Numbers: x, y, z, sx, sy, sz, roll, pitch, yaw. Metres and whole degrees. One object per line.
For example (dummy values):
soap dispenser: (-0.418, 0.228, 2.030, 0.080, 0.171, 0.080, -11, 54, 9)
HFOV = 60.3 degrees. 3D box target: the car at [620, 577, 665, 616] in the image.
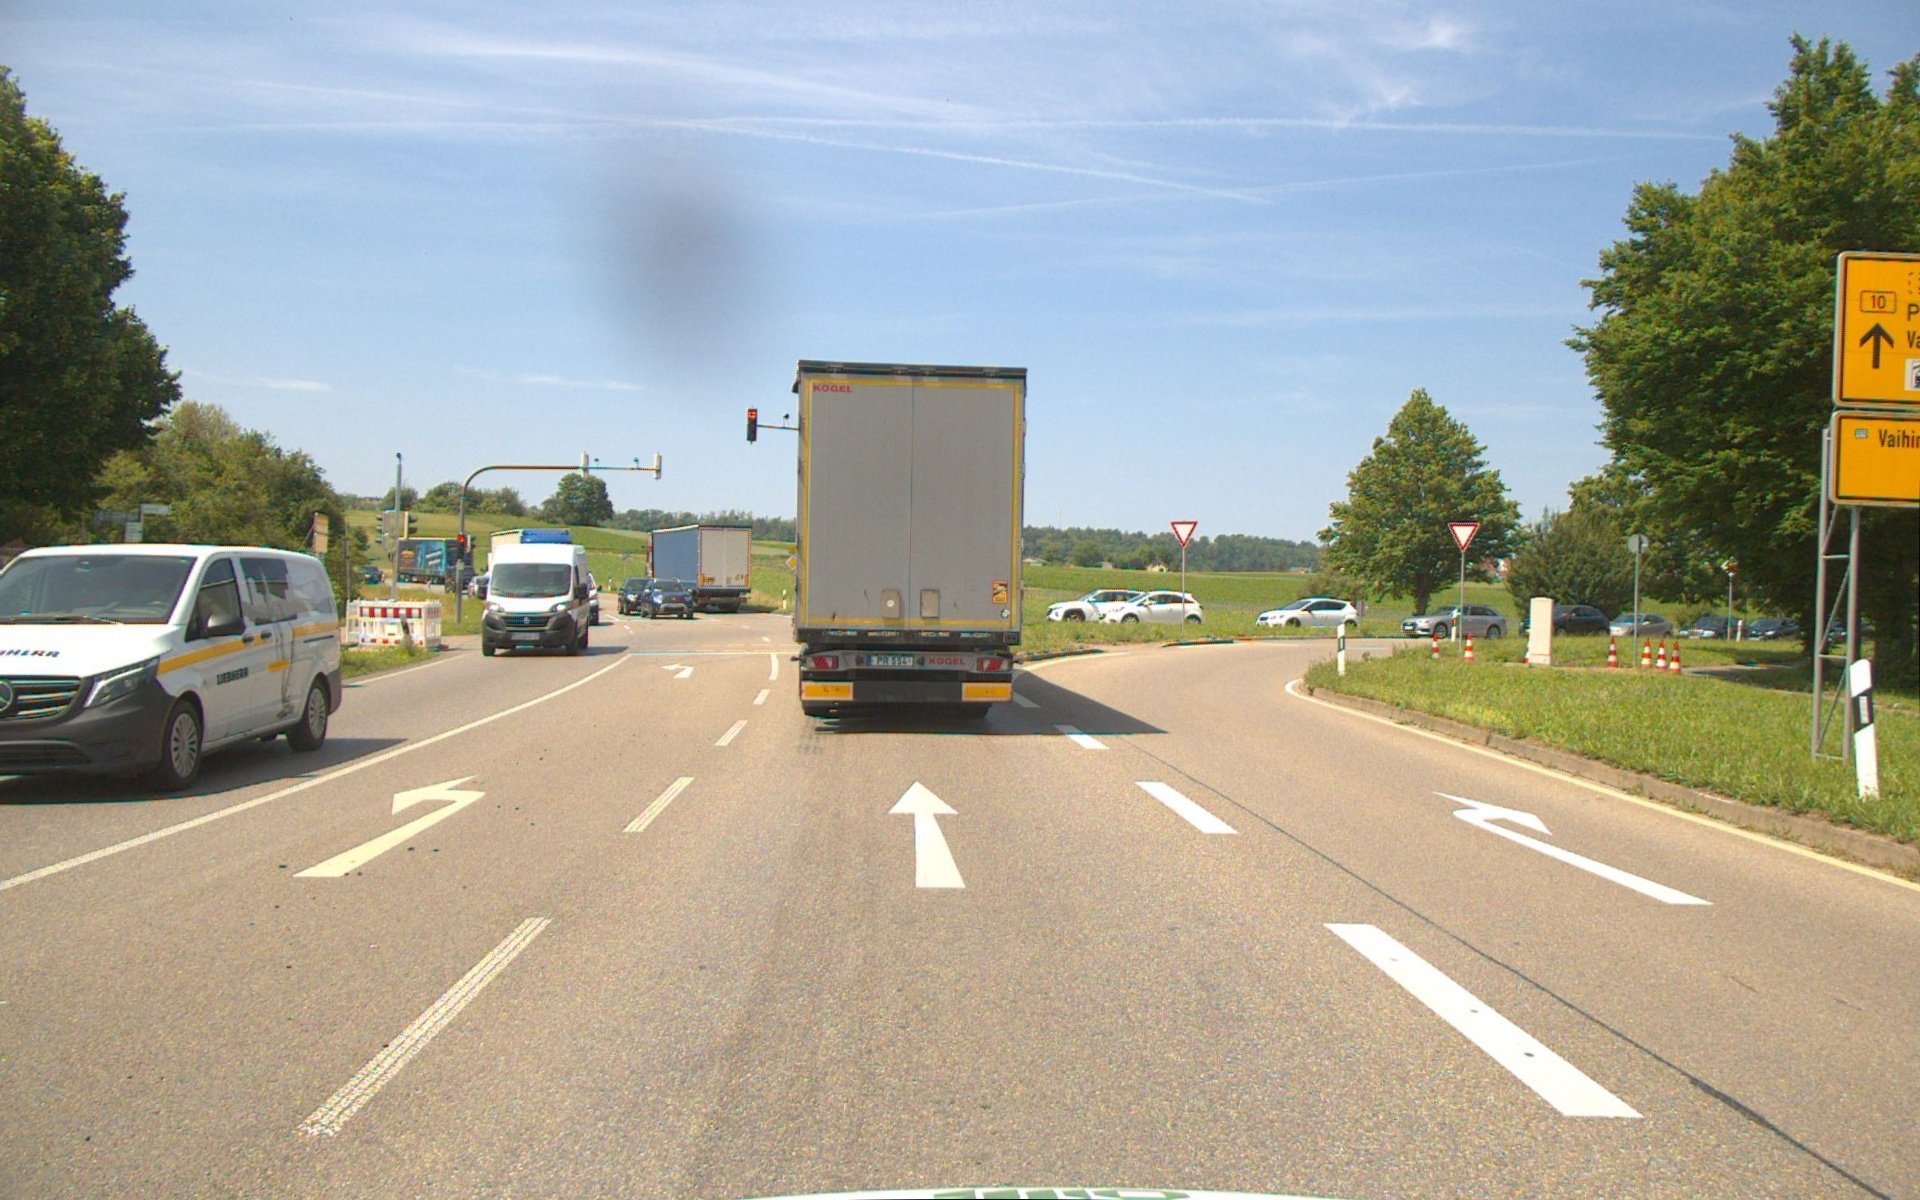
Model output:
car: (-14.458, -0.169, 75.183, 1.742, 1.687, 3.983, 0, 0, -16)

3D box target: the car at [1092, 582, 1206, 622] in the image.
car: (7.014, 0.083, 61.517, 3.889, 1.444, 1.823, 0, -1, -12)

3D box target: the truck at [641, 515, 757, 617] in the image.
truck: (-13.548, -1.770, 84.212, 2.917, 4.663, 16.223, 0, 1, -20)

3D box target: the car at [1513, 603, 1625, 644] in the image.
car: (25.191, 0.988, 68.371, 4.494, 1.536, 1.785, 3, -2, -28)

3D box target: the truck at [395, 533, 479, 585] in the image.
truck: (-47.795, -3.601, 150.810, 3.500, 4.315, 13.240, 1, -1, -35)

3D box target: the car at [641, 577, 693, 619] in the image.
car: (-12.340, -0.110, 69.549, 1.742, 1.687, 3.982, 0, 0, -16)

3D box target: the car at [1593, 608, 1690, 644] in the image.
car: (29.992, 1.144, 72.744, 4.507, 1.536, 1.779, 2, -1, -34)

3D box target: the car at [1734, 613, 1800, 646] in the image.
car: (39.827, 1.459, 81.550, 1.770, 1.536, 4.204, 0, -1, 43)

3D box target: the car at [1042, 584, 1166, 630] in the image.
car: (5.656, 0.301, 65.403, 4.540, 1.635, 1.994, 2, -2, -9)

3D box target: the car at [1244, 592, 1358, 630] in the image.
car: (13.165, 0.428, 63.806, 4.036, 1.444, 1.788, 0, -1, -23)

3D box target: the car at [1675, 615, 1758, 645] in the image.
car: (35.121, 1.393, 76.711, 4.519, 1.295, 1.775, 2, -1, -41)

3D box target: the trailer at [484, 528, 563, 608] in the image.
trailer: (-24.414, -1.772, 91.973, 2.531, 4.100, 13.502, 0, 1, -22)

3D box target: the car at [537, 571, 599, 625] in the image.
car: (-14.627, -0.098, 61.563, 1.842, 1.919, 4.925, -1, 0, -18)

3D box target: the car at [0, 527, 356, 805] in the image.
car: (-6.722, 0.427, 13.852, 1.836, 1.897, 5.136, 0, 1, -5)

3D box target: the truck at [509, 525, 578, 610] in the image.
truck: (-21.165, -1.649, 83.896, 2.531, 4.100, 6.517, 0, 1, -22)

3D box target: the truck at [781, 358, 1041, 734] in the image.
truck: (-0.996, -0.583, 22.681, 2.754, 4.015, 9.579, 1, 0, -6)

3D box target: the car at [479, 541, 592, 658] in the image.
car: (-9.721, -0.052, 38.237, 2.013, 2.495, 5.257, -1, 1, -9)

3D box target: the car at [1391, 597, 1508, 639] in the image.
car: (19.581, 0.739, 66.119, 4.490, 1.536, 1.786, 2, -1, -26)
